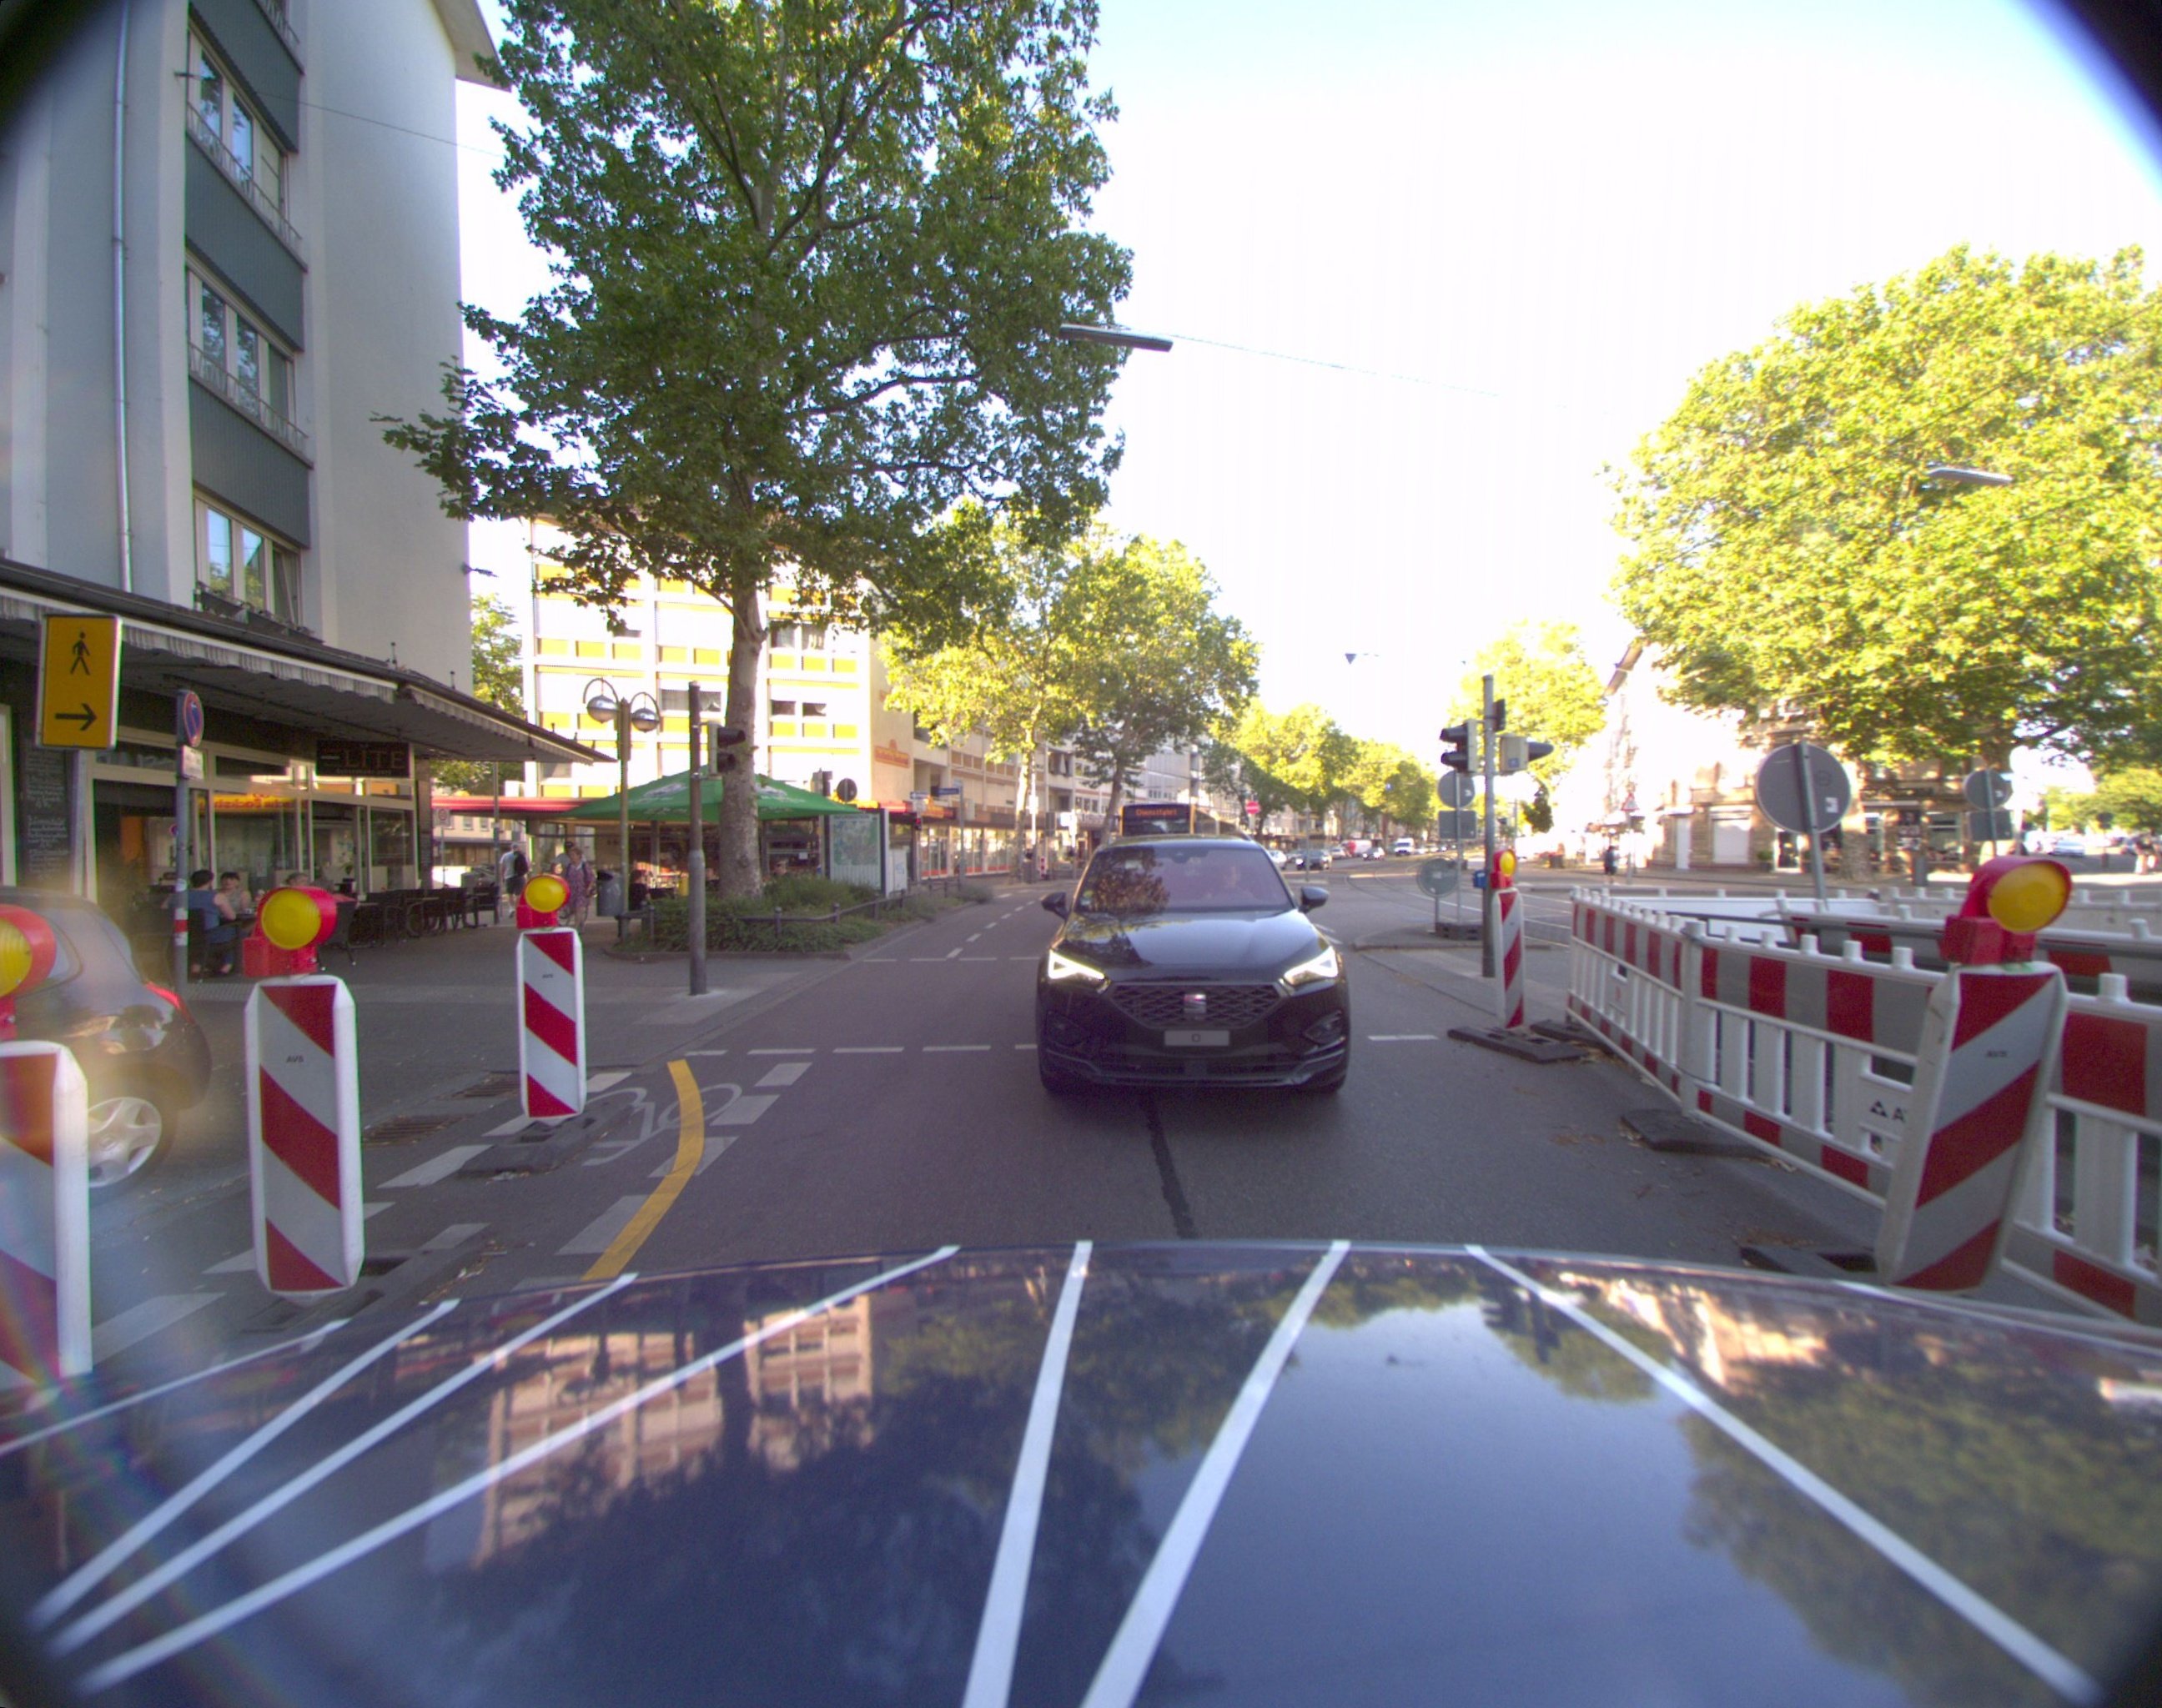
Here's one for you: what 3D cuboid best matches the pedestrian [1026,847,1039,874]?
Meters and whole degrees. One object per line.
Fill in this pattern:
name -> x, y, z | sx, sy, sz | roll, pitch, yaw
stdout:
pedestrian -> -2.916, 0.395, 45.927 | 0.627, 1.577, 0.532 | 0, 1, 20

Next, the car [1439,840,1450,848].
car -> 76.636, -2.125, 160.176 | 1.836, 1.792, 4.138 | 0, 1, 31

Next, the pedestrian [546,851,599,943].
pedestrian -> -9.258, 0.759, 13.846 | 0.629, 1.628, 0.531 | -1, 1, -15

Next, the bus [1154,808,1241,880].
bus -> 5.886, -0.461, 37.083 | 2.717, 3.088, 8.608 | 0, 1, 19

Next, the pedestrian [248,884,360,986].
pedestrian -> -9.880, 0.996, 9.673 | 0.877, 1.186, 0.701 | 0, 1, 24

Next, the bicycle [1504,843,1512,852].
bicycle -> 55.210, -0.882, 98.156 | 0.850, 1.186, 2.470 | 0, 1, 29

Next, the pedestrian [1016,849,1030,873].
pedestrian -> -3.519, 0.436, 46.213 | 0.627, 1.429, 0.532 | 0, 1, 20

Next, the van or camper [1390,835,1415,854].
van or camper -> 46.304, -1.352, 109.278 | 2.420, 2.702, 6.144 | 0, 1, 32

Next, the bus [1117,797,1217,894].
bus -> 3.492, -0.314, 28.683 | 2.718, 3.088, 8.629 | 0, 1, 13

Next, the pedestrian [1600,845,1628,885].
pedestrian -> 20.338, 0.410, 28.999 | 0.603, 1.524, 0.745 | 0, 1, 12

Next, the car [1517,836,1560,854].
car -> 52.482, -1.004, 87.195 | 4.001, 2.002, 1.997 | -1, 1, -13

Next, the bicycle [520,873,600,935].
bicycle -> -10.827, 1.003, 15.880 | 0.752, 1.123, 1.884 | -1, 1, -14

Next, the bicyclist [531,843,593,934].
bicyclist -> -10.817, 0.694, 15.863 | 0.754, 1.816, 0.924 | -1, 1, -14

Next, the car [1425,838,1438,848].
car -> 64.278, -2.095, 139.336 | 1.836, 1.792, 4.138 | 0, 1, 31

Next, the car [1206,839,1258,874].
car -> 9.274, 0.132, 46.406 | 1.995, 2.002, 4.105 | 0, 1, 29

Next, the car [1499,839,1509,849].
car -> 92.573, -2.166, 166.303 | 1.994, 2.002, 4.007 | 0, 1, 29

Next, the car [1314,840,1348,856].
car -> 32.437, -0.800, 98.682 | 3.994, 2.002, 2.001 | -1, 1, 8

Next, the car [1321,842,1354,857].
car -> 34.948, -0.623, 103.615 | 3.994, 2.002, 2.001 | -1, 1, 8

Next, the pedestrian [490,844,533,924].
pedestrian -> -14.208, 0.719, 18.989 | 0.649, 1.948, 0.887 | -1, 1, -25

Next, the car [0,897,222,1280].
car -> -5.202, 0.970, 2.022 | 1.771, 1.459, 3.610 | 2, 1, -2

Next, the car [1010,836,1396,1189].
car -> 0.618, 0.748, 5.659 | 1.841, 1.696, 4.000 | -1, 1, 1

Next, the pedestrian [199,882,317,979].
pedestrian -> -10.750, 0.974, 9.946 | 0.647, 1.186, 0.792 | 0, 1, 7

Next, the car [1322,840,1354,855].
car -> 36.551, -0.907, 107.932 | 3.994, 2.002, 2.001 | -1, 1, 8

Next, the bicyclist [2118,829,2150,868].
bicyclist -> 46.653, -0.240, 33.673 | 0.766, 1.718, 0.672 | -1, 1, -23

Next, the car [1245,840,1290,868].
car -> 13.609, -0.015, 55.365 | 1.994, 2.002, 4.008 | 0, 1, 33

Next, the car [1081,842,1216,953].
car -> 1.033, 0.625, 13.321 | 1.998, 1.634, 4.075 | -1, 1, 1

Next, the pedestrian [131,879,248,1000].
pedestrian -> -10.378, 0.956, 8.853 | 0.789, 1.299, 0.701 | 0, 1, 28

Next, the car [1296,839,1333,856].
car -> 28.498, -0.781, 92.832 | 3.994, 2.002, 2.001 | -1, 1, 8

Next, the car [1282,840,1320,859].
car -> 24.763, -0.512, 85.371 | 3.991, 2.002, 2.003 | 0, 1, 18

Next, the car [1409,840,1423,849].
car -> 55.204, -1.536, 125.236 | 1.700, 1.462, 3.771 | 0, 1, 31

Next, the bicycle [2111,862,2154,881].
bicycle -> 46.608, 0.759, 33.664 | 1.993, 0.777, 0.680 | -1, 1, -23

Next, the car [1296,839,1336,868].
car -> 16.615, -0.044, 53.575 | 1.995, 2.002, 4.007 | 0, 1, 27
